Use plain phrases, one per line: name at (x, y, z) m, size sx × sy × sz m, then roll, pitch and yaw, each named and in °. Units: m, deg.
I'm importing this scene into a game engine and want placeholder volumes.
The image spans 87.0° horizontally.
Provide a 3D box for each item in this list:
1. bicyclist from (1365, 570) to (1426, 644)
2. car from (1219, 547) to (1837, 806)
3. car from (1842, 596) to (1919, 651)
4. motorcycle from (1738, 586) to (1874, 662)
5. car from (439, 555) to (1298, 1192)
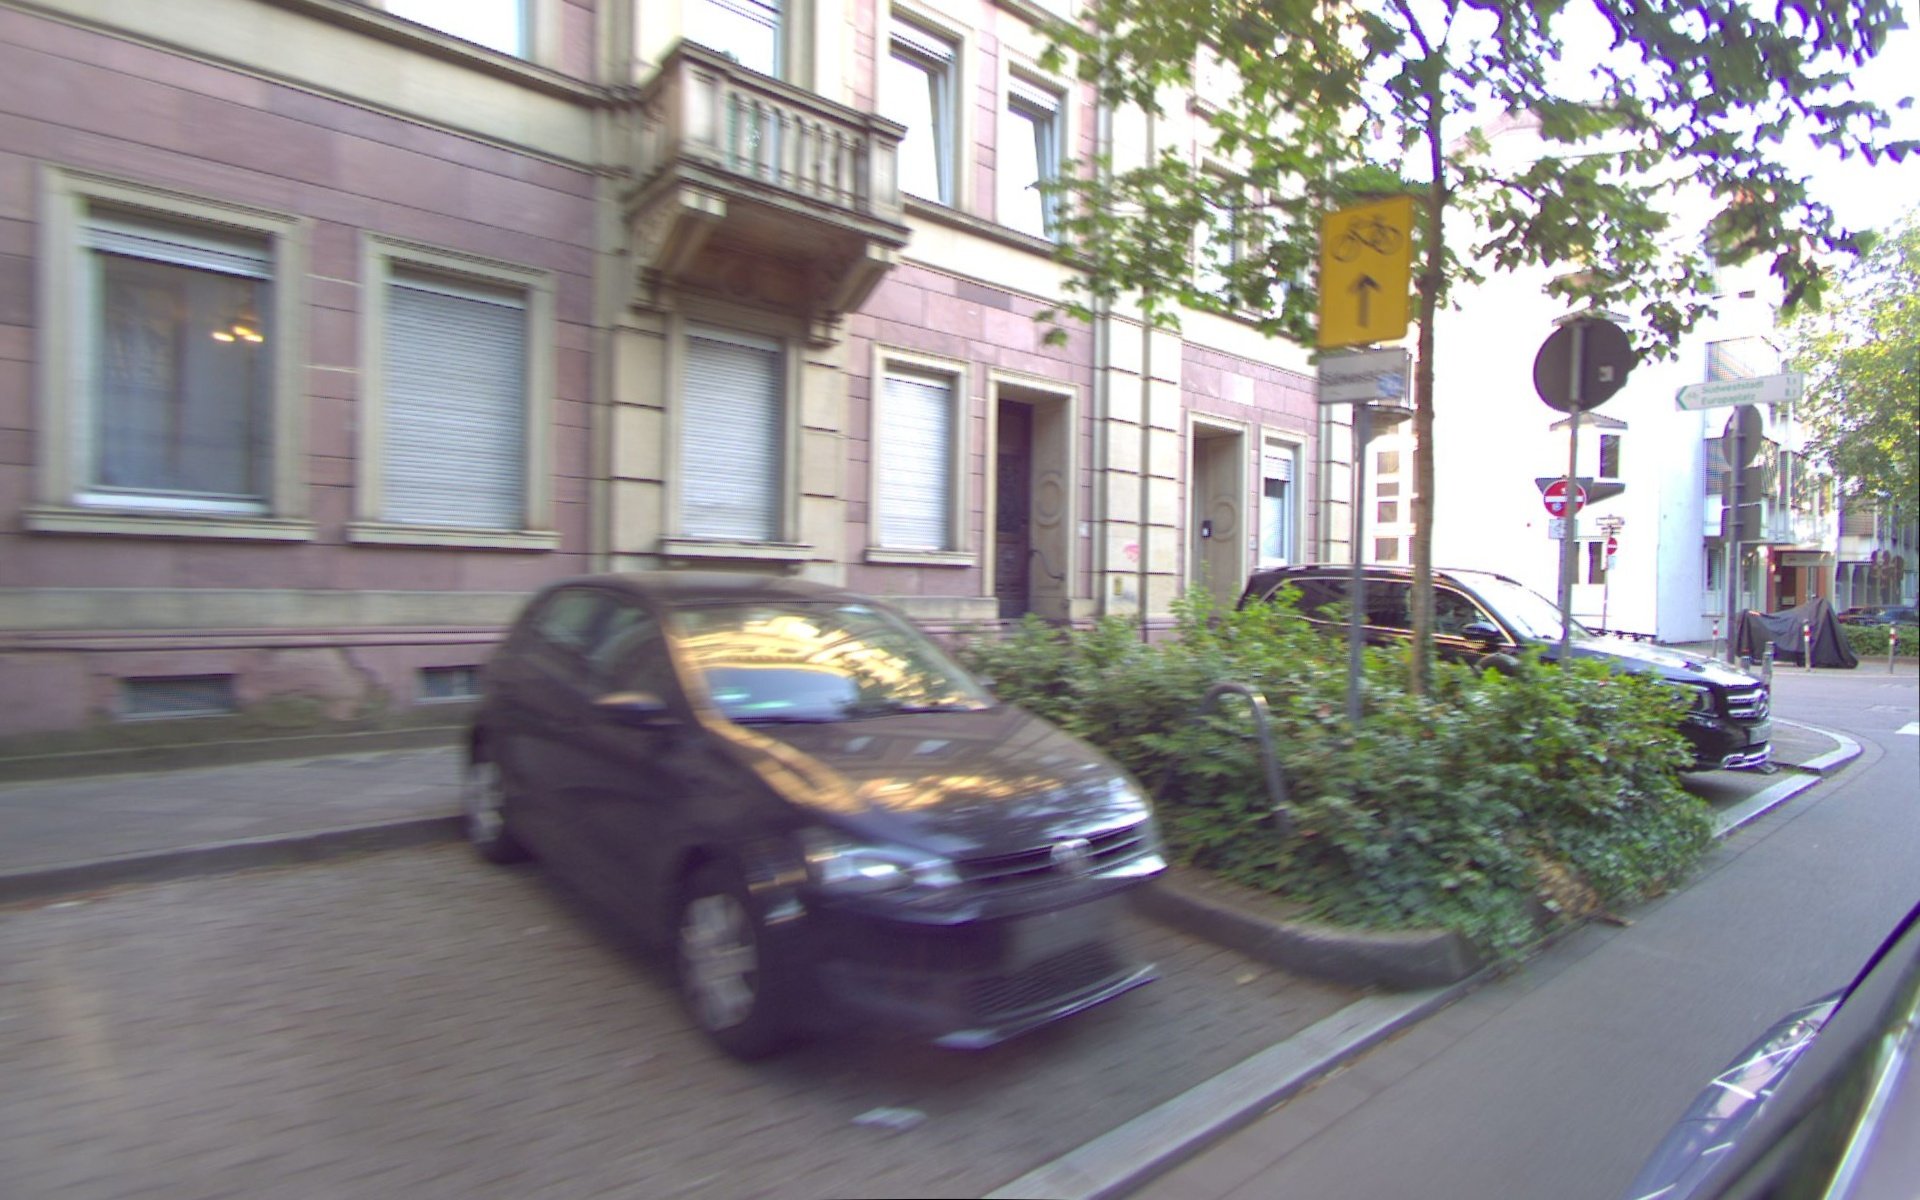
bicyclist at (9.935, 0.148, 23.110) m, size 0.738 × 1.642 × 1.149 m, roll 0°, pitch 0°, yaw -11°
car at (4.687, 0.437, 9.108) m, size 1.830 × 1.580 × 4.432 m, roll 2°, pitch 3°, yaw -33°
car at (30.455, 0.715, 31.617) m, size 1.562 × 1.697 × 4.163 m, roll 1°, pitch -2°, yaw -40°
motorcycle at (18.348, 0.493, 22.029) m, size 2.234 × 1.565 × 0.763 m, roll 0°, pitch 0°, yaw 38°
car at (-0.773, 0.581, 4.391) m, size 1.750 × 1.445 × 3.873 m, roll 1°, pitch 2°, yaw -41°
